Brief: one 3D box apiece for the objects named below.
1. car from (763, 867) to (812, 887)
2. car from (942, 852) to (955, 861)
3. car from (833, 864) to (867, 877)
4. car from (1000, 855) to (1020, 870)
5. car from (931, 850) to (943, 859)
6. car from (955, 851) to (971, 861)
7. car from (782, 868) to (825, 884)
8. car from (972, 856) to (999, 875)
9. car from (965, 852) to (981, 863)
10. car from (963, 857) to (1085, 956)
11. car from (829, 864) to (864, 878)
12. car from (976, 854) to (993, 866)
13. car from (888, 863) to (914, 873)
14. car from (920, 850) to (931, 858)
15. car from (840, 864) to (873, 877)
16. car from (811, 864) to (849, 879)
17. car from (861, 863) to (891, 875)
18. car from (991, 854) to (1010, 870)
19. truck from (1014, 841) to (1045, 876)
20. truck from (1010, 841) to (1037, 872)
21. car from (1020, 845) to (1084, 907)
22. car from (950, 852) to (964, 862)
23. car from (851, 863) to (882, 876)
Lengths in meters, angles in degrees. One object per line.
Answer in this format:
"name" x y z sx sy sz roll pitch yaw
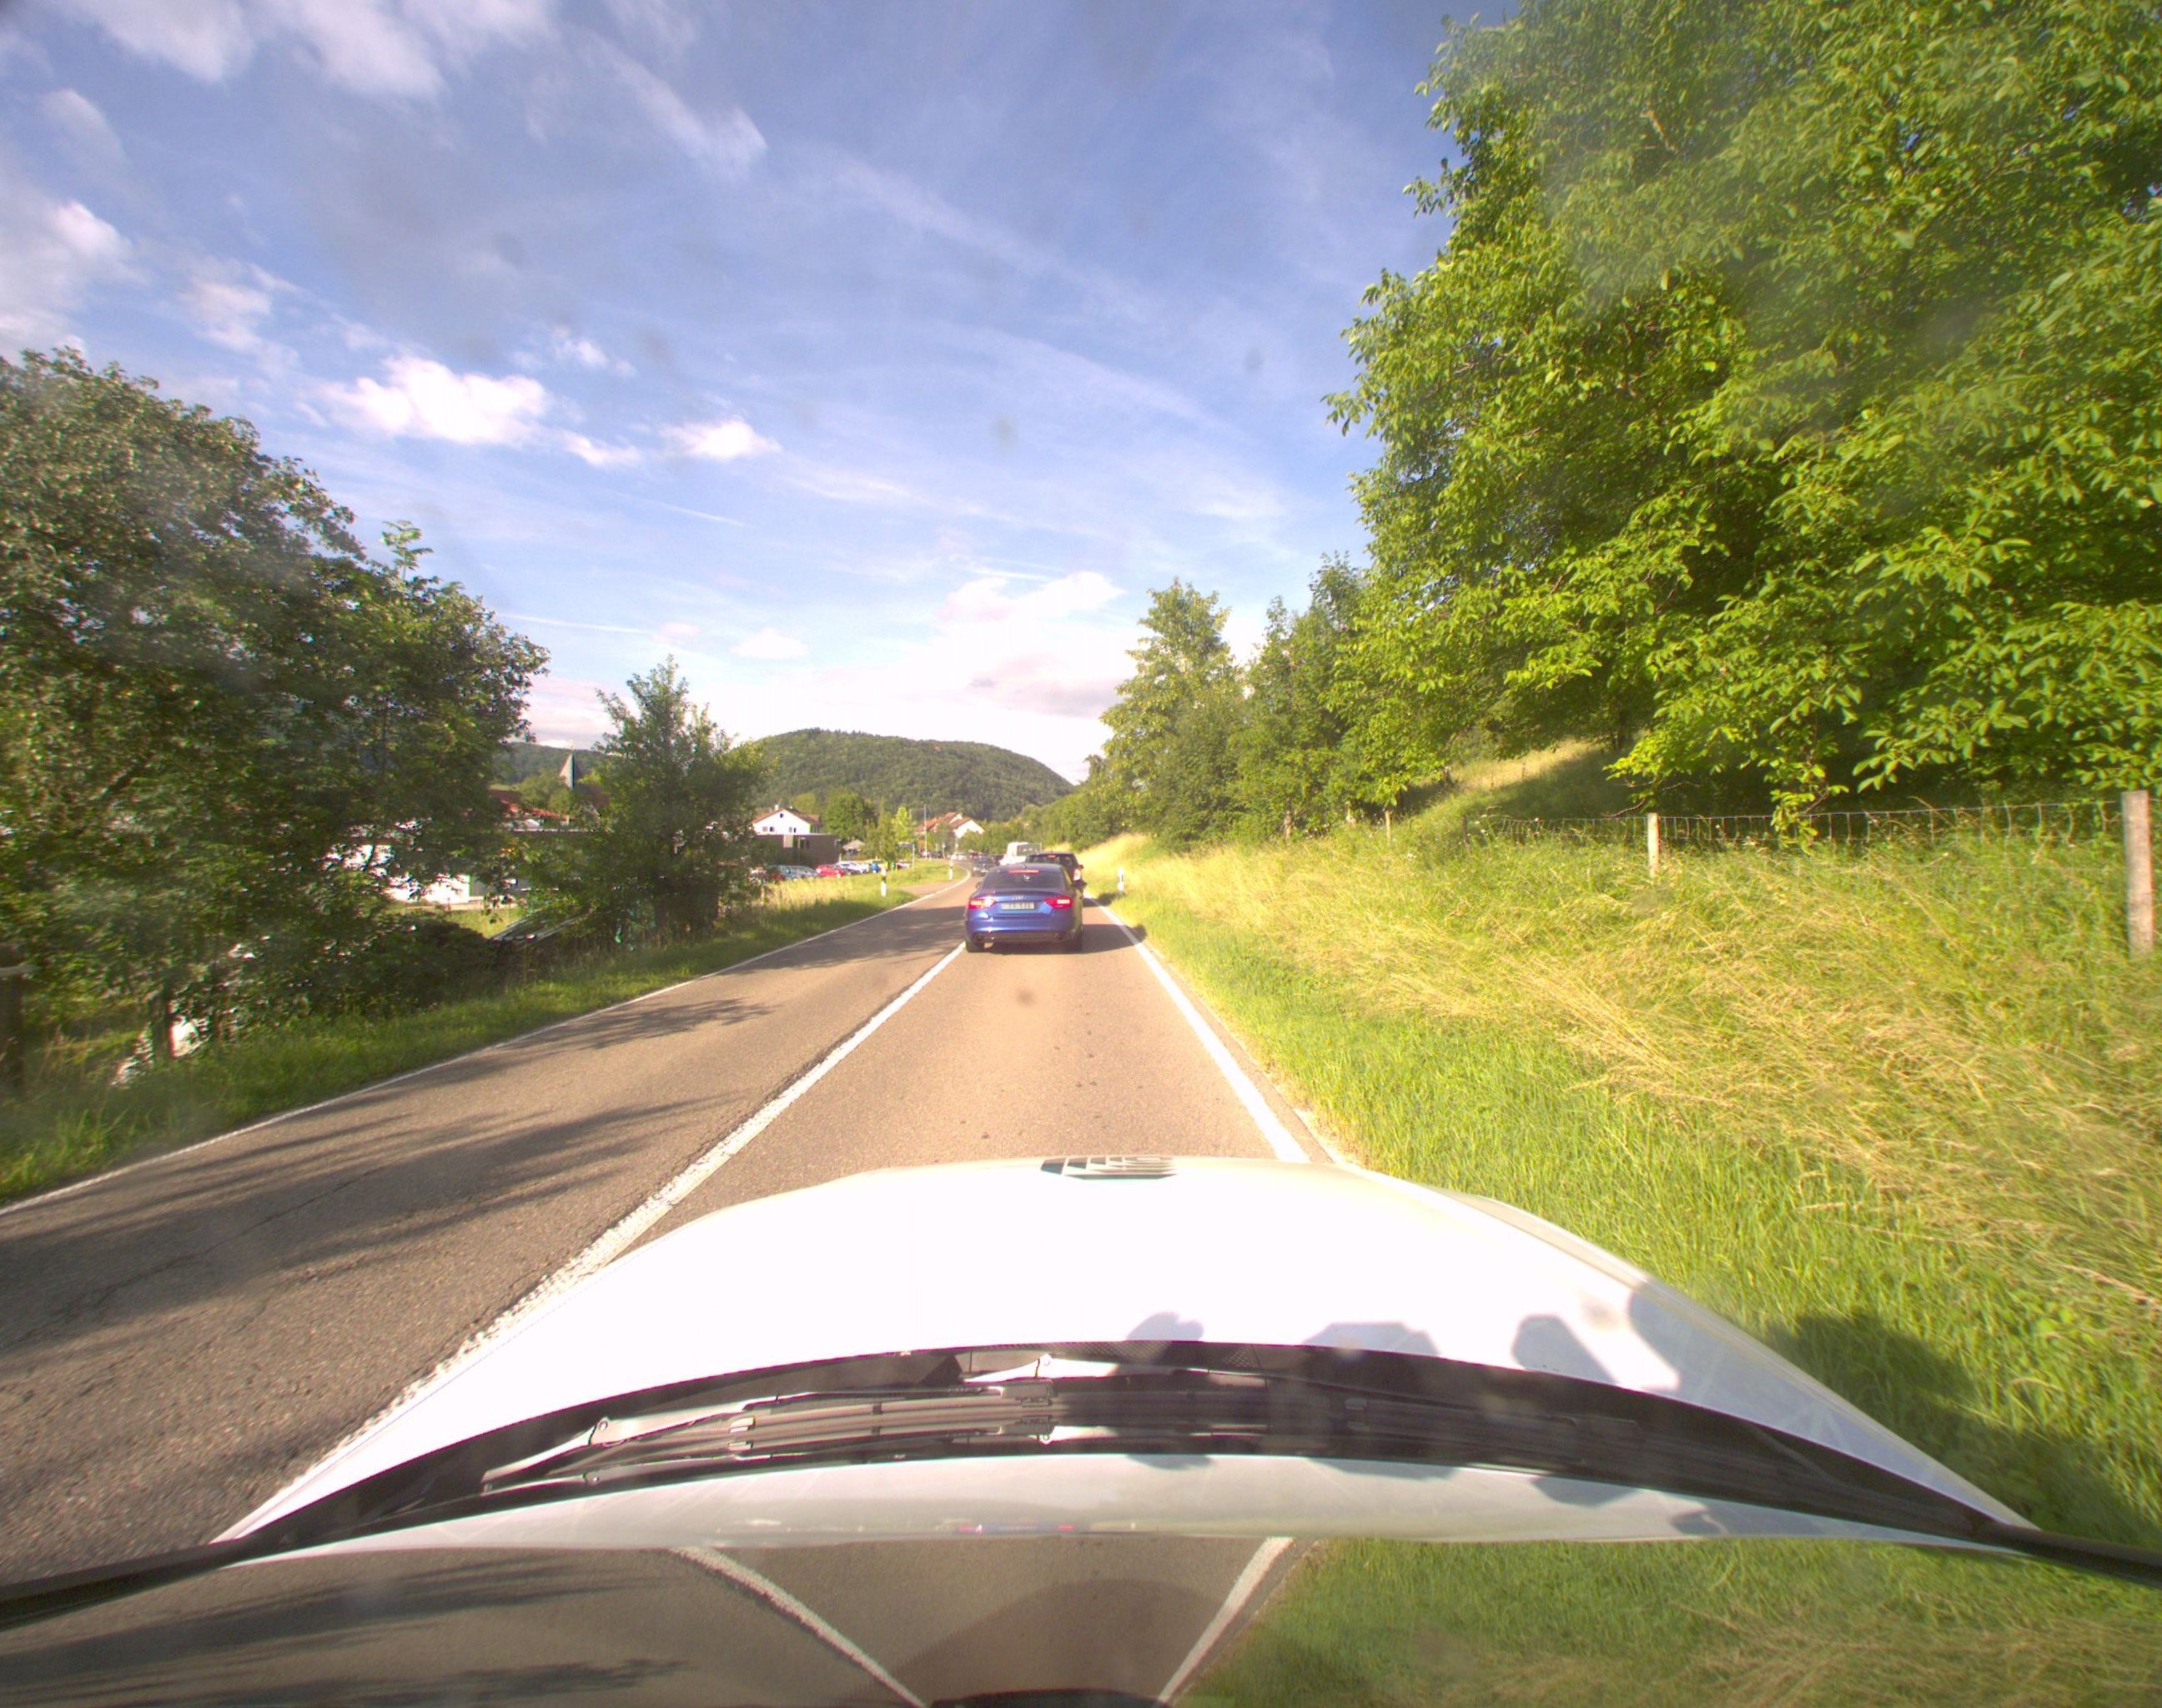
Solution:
"car" -30.185 2.339 83.817 4.399 2.008 1.996 0 -1 -5
"car" -25.926 0.505 159.335 1.852 1.712 3.972 0 -1 -21
"car" -30.310 2.152 106.822 3.981 1.711 1.996 0 -1 -5
"car" -7.241 0.837 82.769 1.845 1.482 3.987 0 0 -9
"car" -30.463 0.130 172.436 1.852 1.712 3.972 0 -1 -21
"car" -20.251 0.388 139.812 1.852 1.712 3.973 0 -1 -20
"car" -29.950 2.366 87.865 3.981 1.711 1.996 0 -1 -5
"car" -6.888 0.808 58.982 1.590 1.354 4.199 0 0 -2
"car" -17.286 0.549 130.095 1.850 1.712 3.976 0 0 -18
"car" -0.821 0.774 13.731 1.748 1.430 3.846 0 0 0
"car" -29.673 2.121 103.198 3.981 1.711 1.996 0 -1 -5
"car" -14.244 0.829 120.214 1.849 1.712 3.979 0 0 -16
"car" -29.415 2.230 133.016 3.981 1.579 1.749 0 -1 -5
"car" -35.582 0.028 186.105 1.852 1.712 3.972 0 -1 -21
"car" -30.353 2.176 110.105 3.981 1.711 1.996 0 -1 -5
"car" -30.372 2.094 98.584 3.981 1.711 1.996 0 -1 -5
"car" -29.840 2.232 118.641 3.981 1.711 1.996 0 -1 -5
"car" -9.109 0.877 91.996 1.846 1.712 3.985 0 0 -11
"truck" -3.982 0.341 63.057 2.225 2.570 6.096 0 0 -3
"truck" -5.027 0.216 70.837 2.226 2.570 6.697 0 0 -4
"car" -0.853 0.621 24.434 1.749 1.681 3.843 0 0 -2
"car" -22.505 0.597 147.720 1.852 1.712 3.972 0 -1 -21
"car" -30.548 2.219 115.884 3.981 1.711 1.996 0 -1 -5
